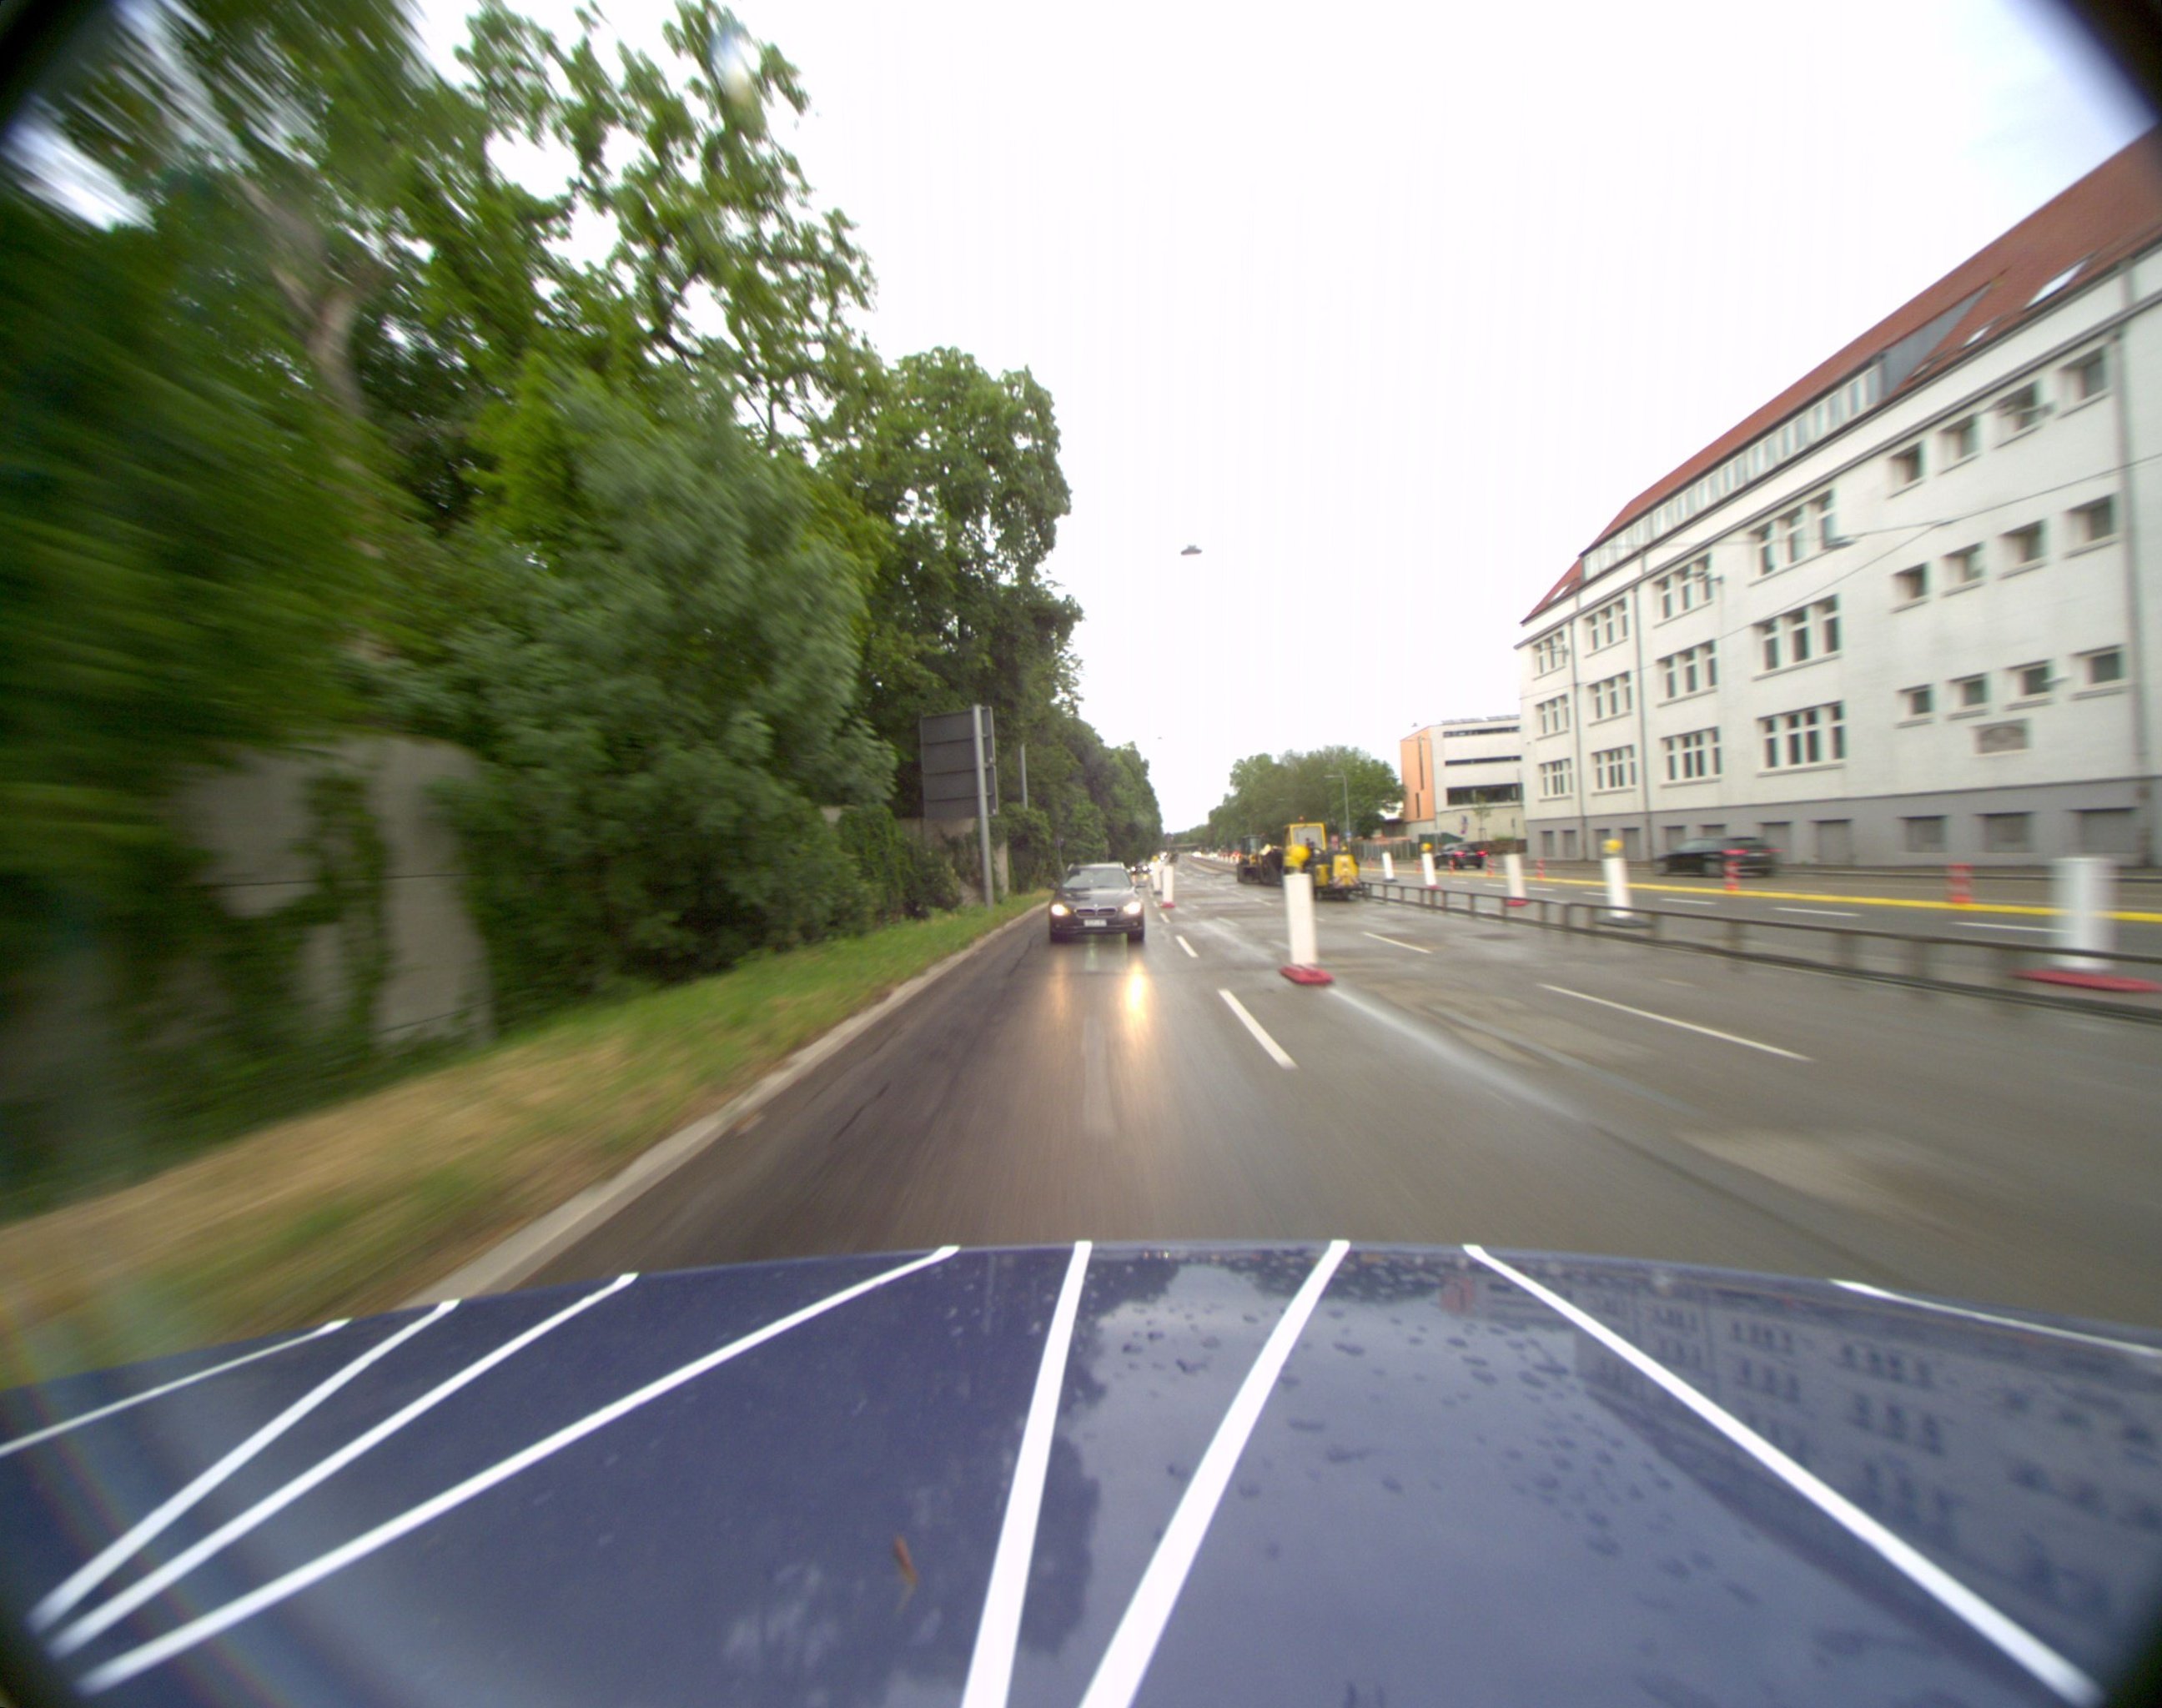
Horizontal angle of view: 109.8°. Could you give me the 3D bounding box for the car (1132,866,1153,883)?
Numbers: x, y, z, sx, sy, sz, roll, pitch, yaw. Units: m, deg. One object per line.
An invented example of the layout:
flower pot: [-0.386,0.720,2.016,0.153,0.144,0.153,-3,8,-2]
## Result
car: [7.375,2.437,91.373,1.999,1.740,3.999,-2,0,-2]

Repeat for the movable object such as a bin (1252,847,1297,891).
movable object such as a bin: [9.563,0.708,37.770,1.399,2.032,4.087,-2,0,4]

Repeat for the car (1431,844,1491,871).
car: [24.013,0.220,48.216,1.998,1.575,4.212,-2,0,5]

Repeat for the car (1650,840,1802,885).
car: [22.061,0.279,26.223,1.862,1.373,4.000,-2,0,1]

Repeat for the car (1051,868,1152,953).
car: [0.396,1.036,15.508,1.764,1.441,4.178,0,0,1]

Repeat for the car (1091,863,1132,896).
car: [1.595,1.247,38.180,1.839,1.424,4.274,-2,0,5]

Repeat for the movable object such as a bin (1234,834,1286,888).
movable object such as a bin: [10.092,0.368,43.111,2.126,2.821,4.480,-2,0,4]

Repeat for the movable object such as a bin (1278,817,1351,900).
movable object such as a bin: [8.782,0.174,28.866,1.826,2.895,3.608,-2,0,4]

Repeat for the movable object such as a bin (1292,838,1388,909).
movable object such as a bin: [8.387,0.605,24.977,1.998,2.099,3.851,-2,0,4]
